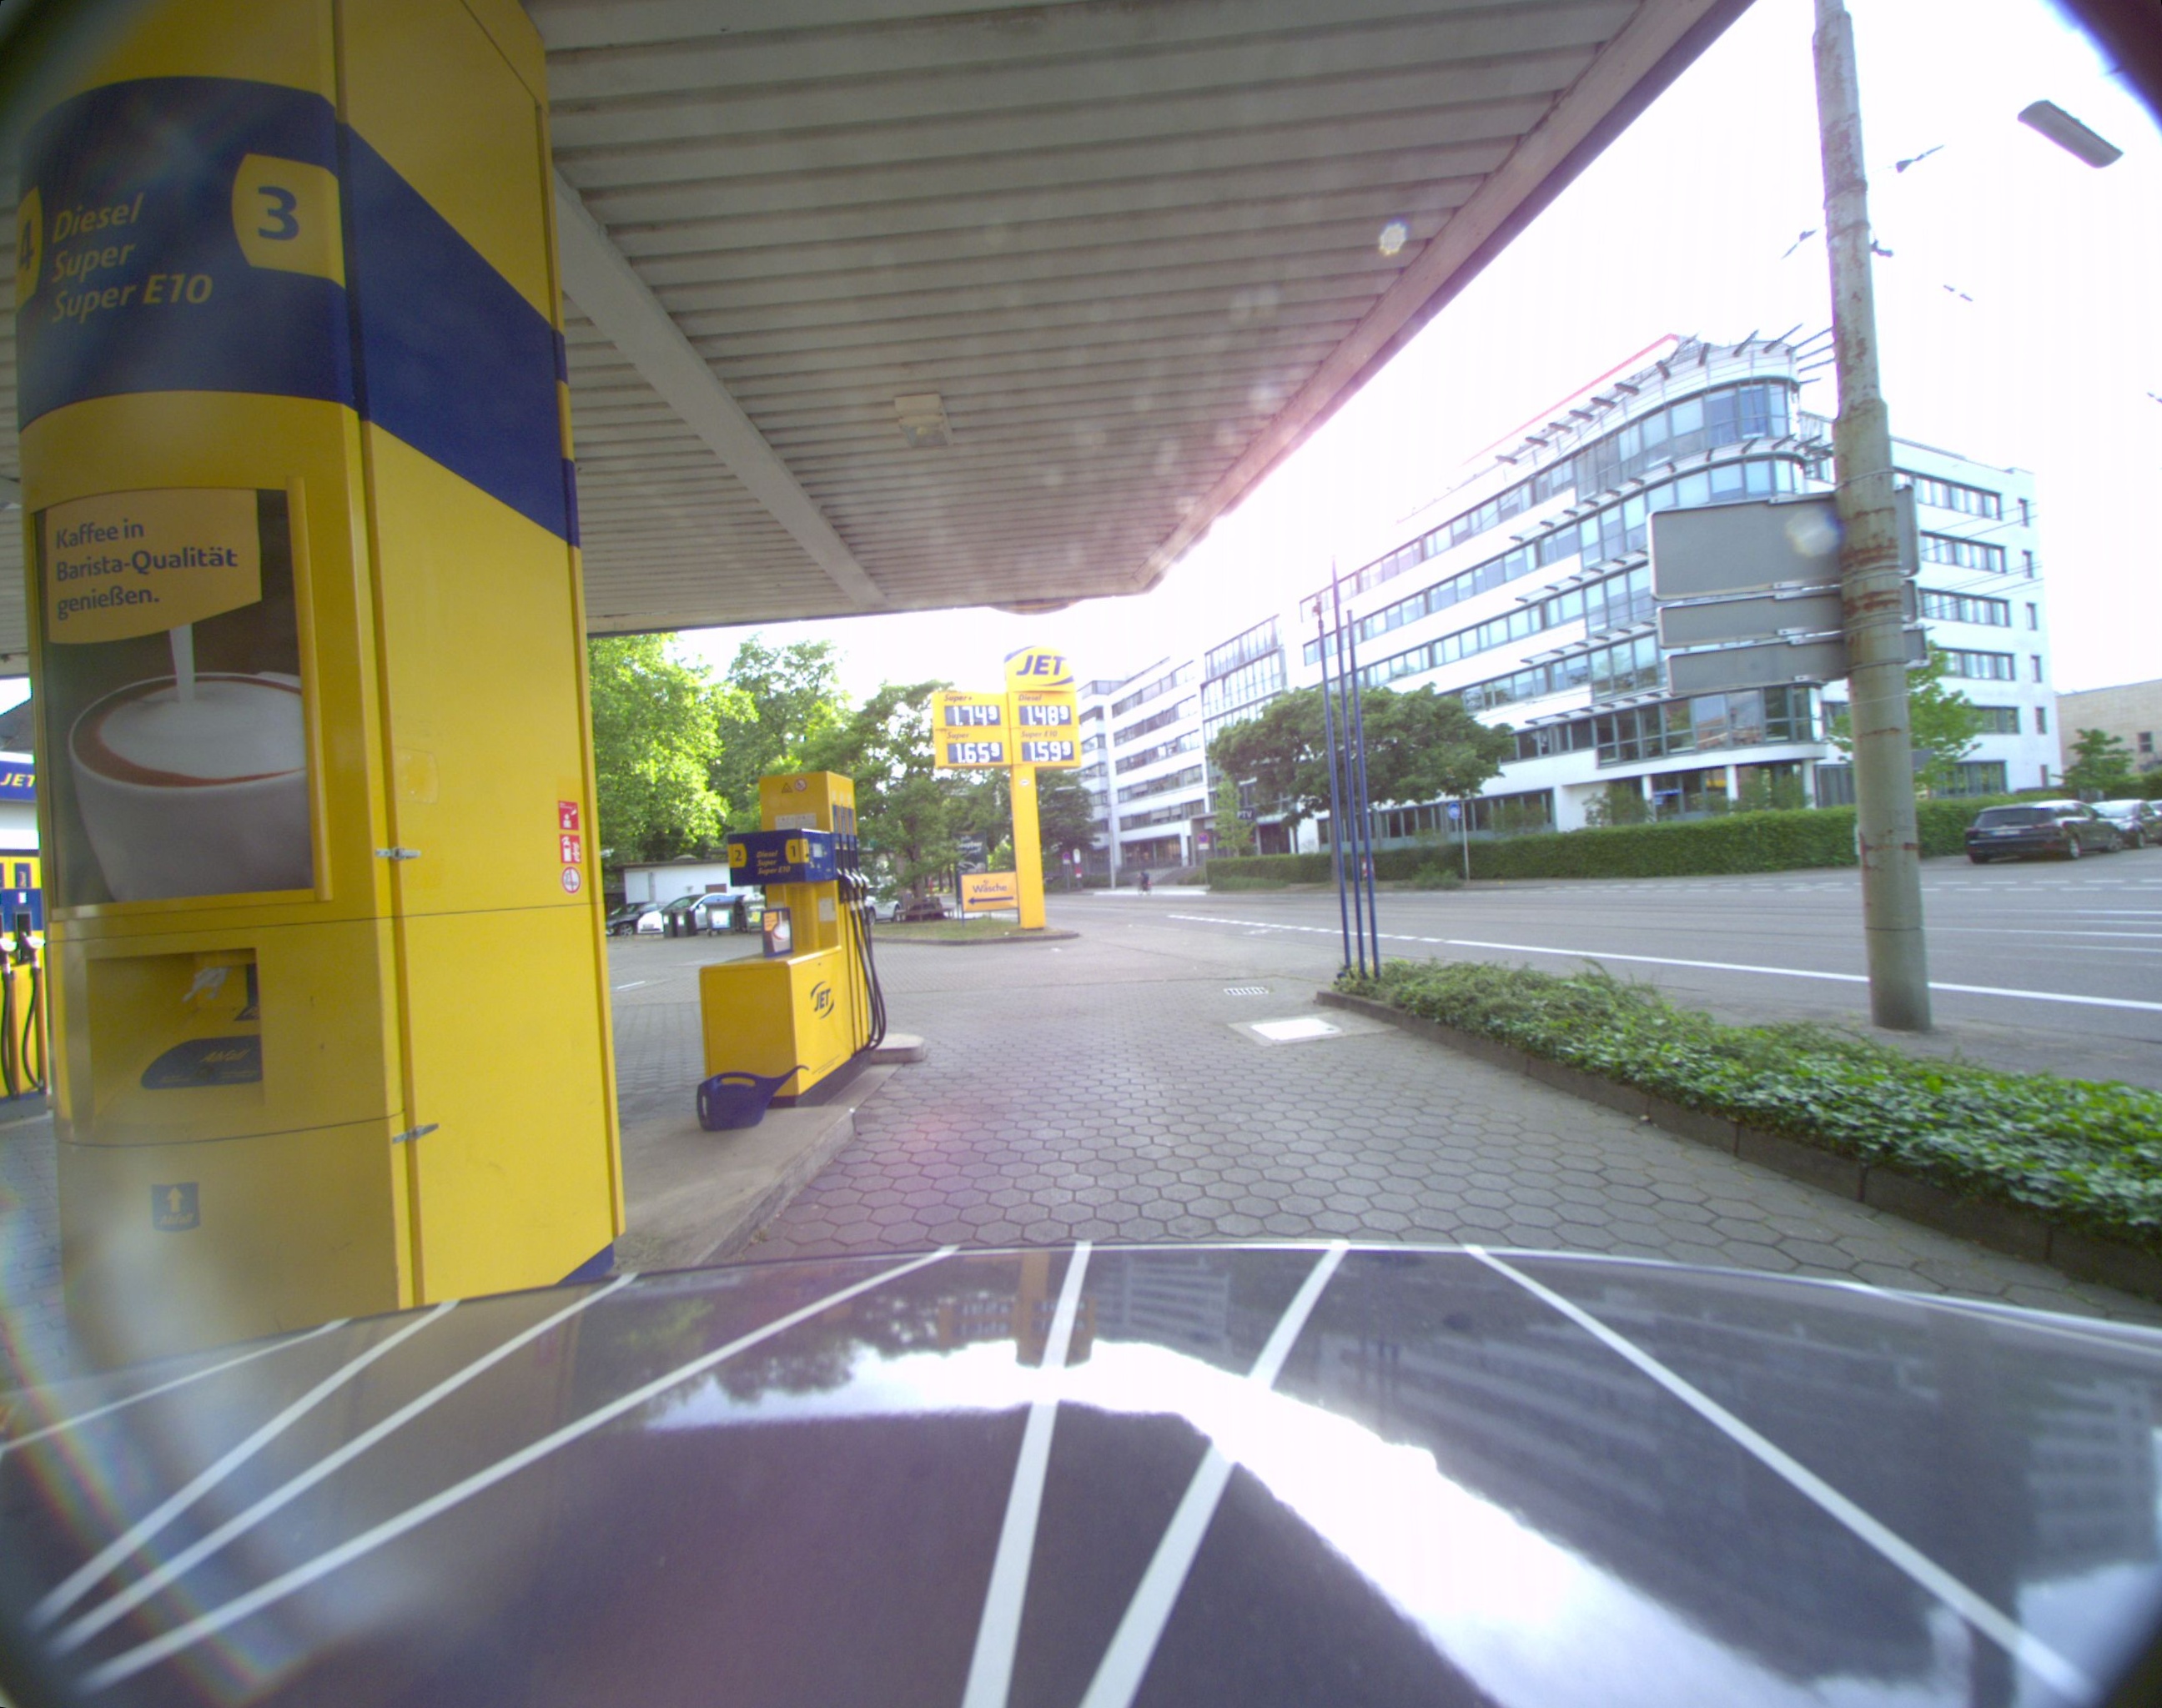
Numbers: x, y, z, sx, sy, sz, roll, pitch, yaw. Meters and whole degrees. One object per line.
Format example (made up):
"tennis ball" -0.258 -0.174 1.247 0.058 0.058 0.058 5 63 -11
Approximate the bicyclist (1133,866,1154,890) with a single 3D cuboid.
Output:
"bicyclist" 3.969 1.505 48.078 0.792 1.443 1.174 -3 1 -26

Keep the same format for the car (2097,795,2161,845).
"car" 37.113 -1.257 26.013 4.201 1.568 1.820 -4 -1 -24

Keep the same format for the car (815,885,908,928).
"car" -8.649 2.038 30.374 1.823 1.449 4.200 -4 -2 10

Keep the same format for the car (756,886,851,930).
"car" -11.739 2.255 32.461 1.823 1.575 4.200 -4 -2 10

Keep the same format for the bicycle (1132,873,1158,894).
"bicycle" 4.024 1.835 48.025 0.792 1.232 1.879 -3 1 -26

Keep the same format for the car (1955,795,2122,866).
"car" 27.426 -0.672 21.754 4.397 1.678 1.820 -4 -1 -24

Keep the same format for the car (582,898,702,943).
"car" -17.526 2.621 30.604 1.823 1.426 4.200 -4 -2 10

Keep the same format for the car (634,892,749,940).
"car" -15.382 2.403 30.249 1.823 1.575 4.200 -4 -2 10

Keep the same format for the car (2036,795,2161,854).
"car" 32.584 -0.962 24.065 4.201 1.568 1.820 -4 -1 -24
